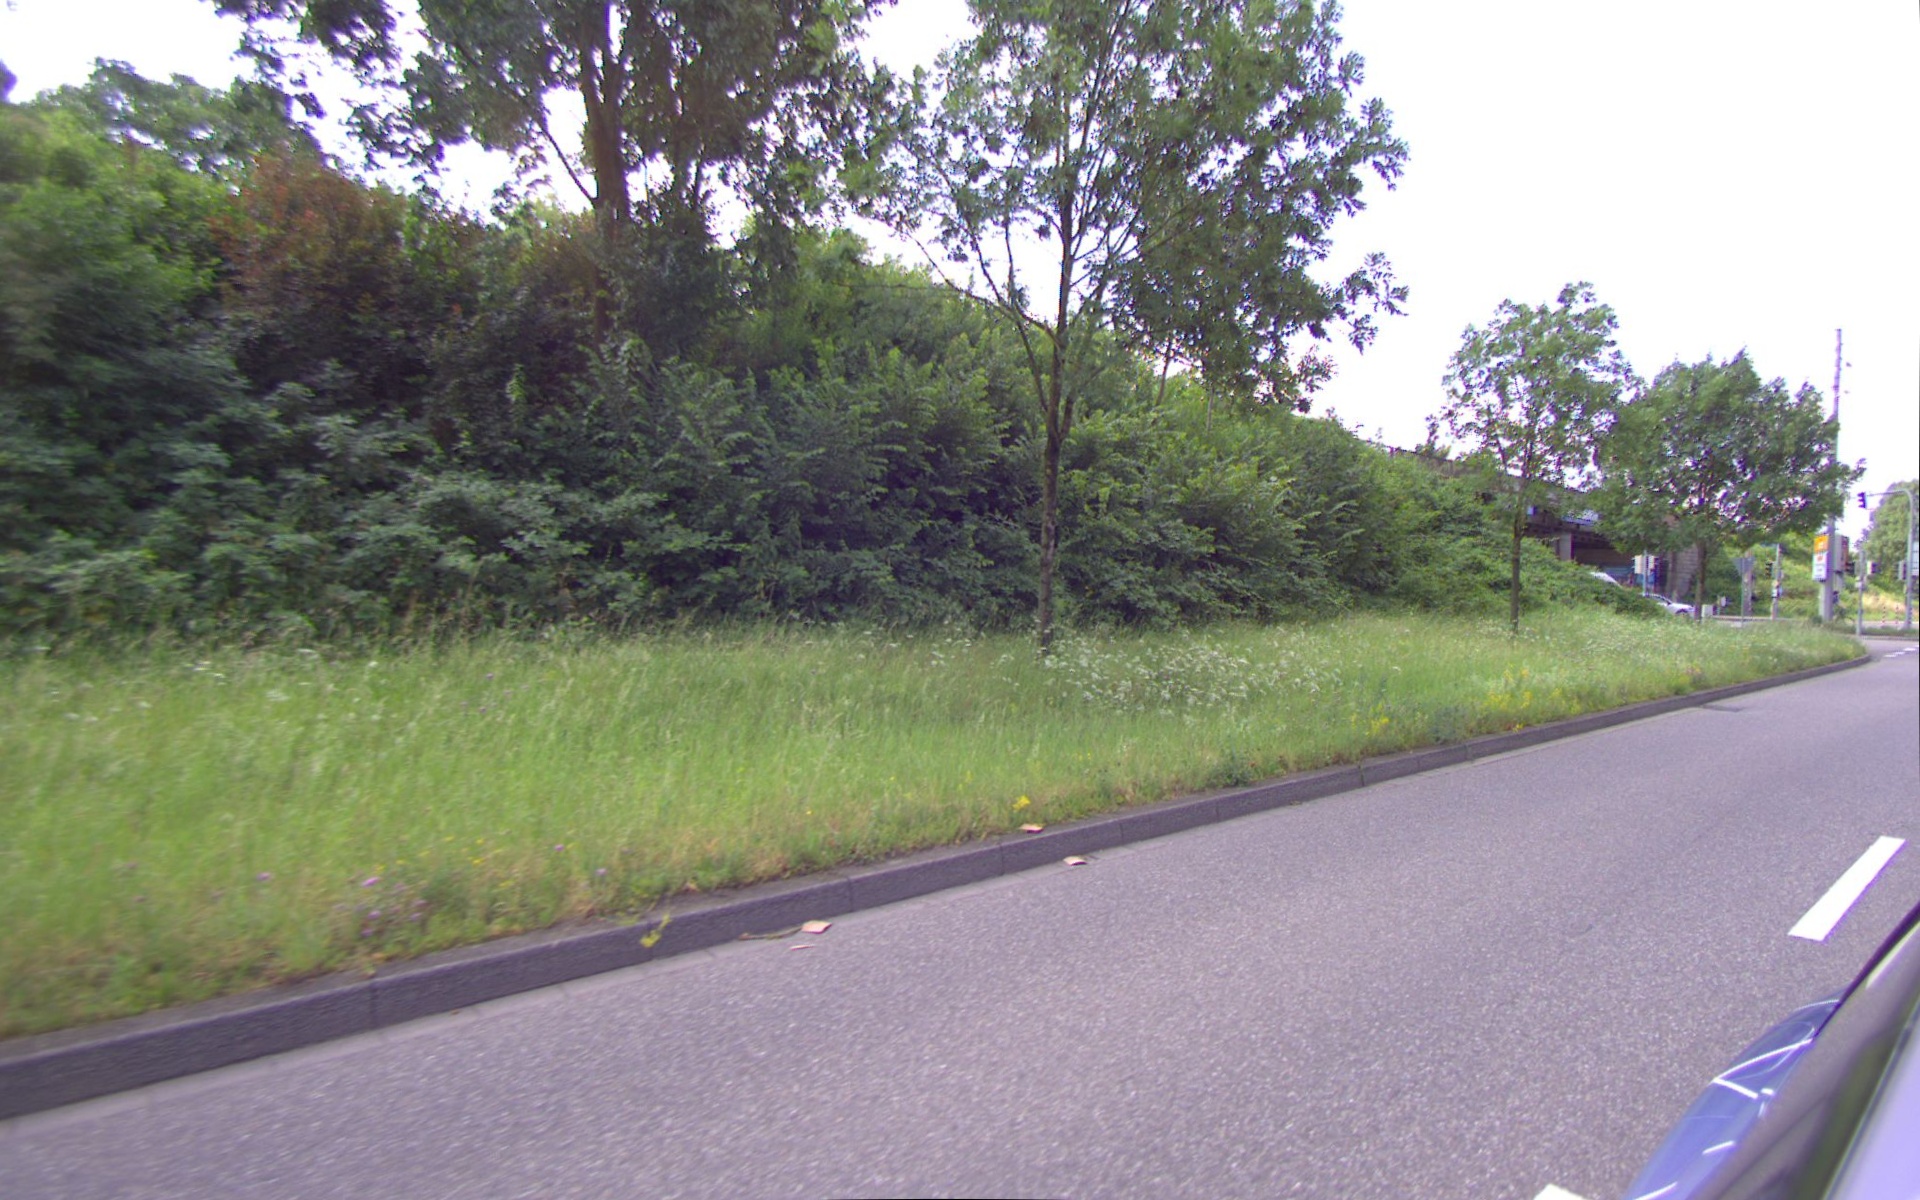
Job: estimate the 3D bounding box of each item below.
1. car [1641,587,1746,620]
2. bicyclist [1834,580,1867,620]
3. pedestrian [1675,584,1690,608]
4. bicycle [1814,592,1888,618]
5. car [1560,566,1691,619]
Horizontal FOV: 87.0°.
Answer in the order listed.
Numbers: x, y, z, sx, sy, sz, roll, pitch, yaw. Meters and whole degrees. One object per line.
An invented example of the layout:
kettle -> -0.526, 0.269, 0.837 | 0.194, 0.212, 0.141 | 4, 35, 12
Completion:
car -> 37.568, 0.163, 51.925 | 3.939, 1.494, 1.702 | -1, 2, 13
bicyclist -> 39.487, 0.003, 44.887 | 0.814, 1.698, 0.840 | -1, 4, 21
pedestrian -> 52.110, -0.278, 72.952 | 0.678, 1.671, 0.611 | -3, 3, -21
bicycle -> 39.490, 0.227, 44.892 | 2.291, 1.106, 0.840 | -1, 4, 22
car -> 36.482, -0.422, 55.666 | 5.546, 2.555, 2.257 | -1, 5, 16
